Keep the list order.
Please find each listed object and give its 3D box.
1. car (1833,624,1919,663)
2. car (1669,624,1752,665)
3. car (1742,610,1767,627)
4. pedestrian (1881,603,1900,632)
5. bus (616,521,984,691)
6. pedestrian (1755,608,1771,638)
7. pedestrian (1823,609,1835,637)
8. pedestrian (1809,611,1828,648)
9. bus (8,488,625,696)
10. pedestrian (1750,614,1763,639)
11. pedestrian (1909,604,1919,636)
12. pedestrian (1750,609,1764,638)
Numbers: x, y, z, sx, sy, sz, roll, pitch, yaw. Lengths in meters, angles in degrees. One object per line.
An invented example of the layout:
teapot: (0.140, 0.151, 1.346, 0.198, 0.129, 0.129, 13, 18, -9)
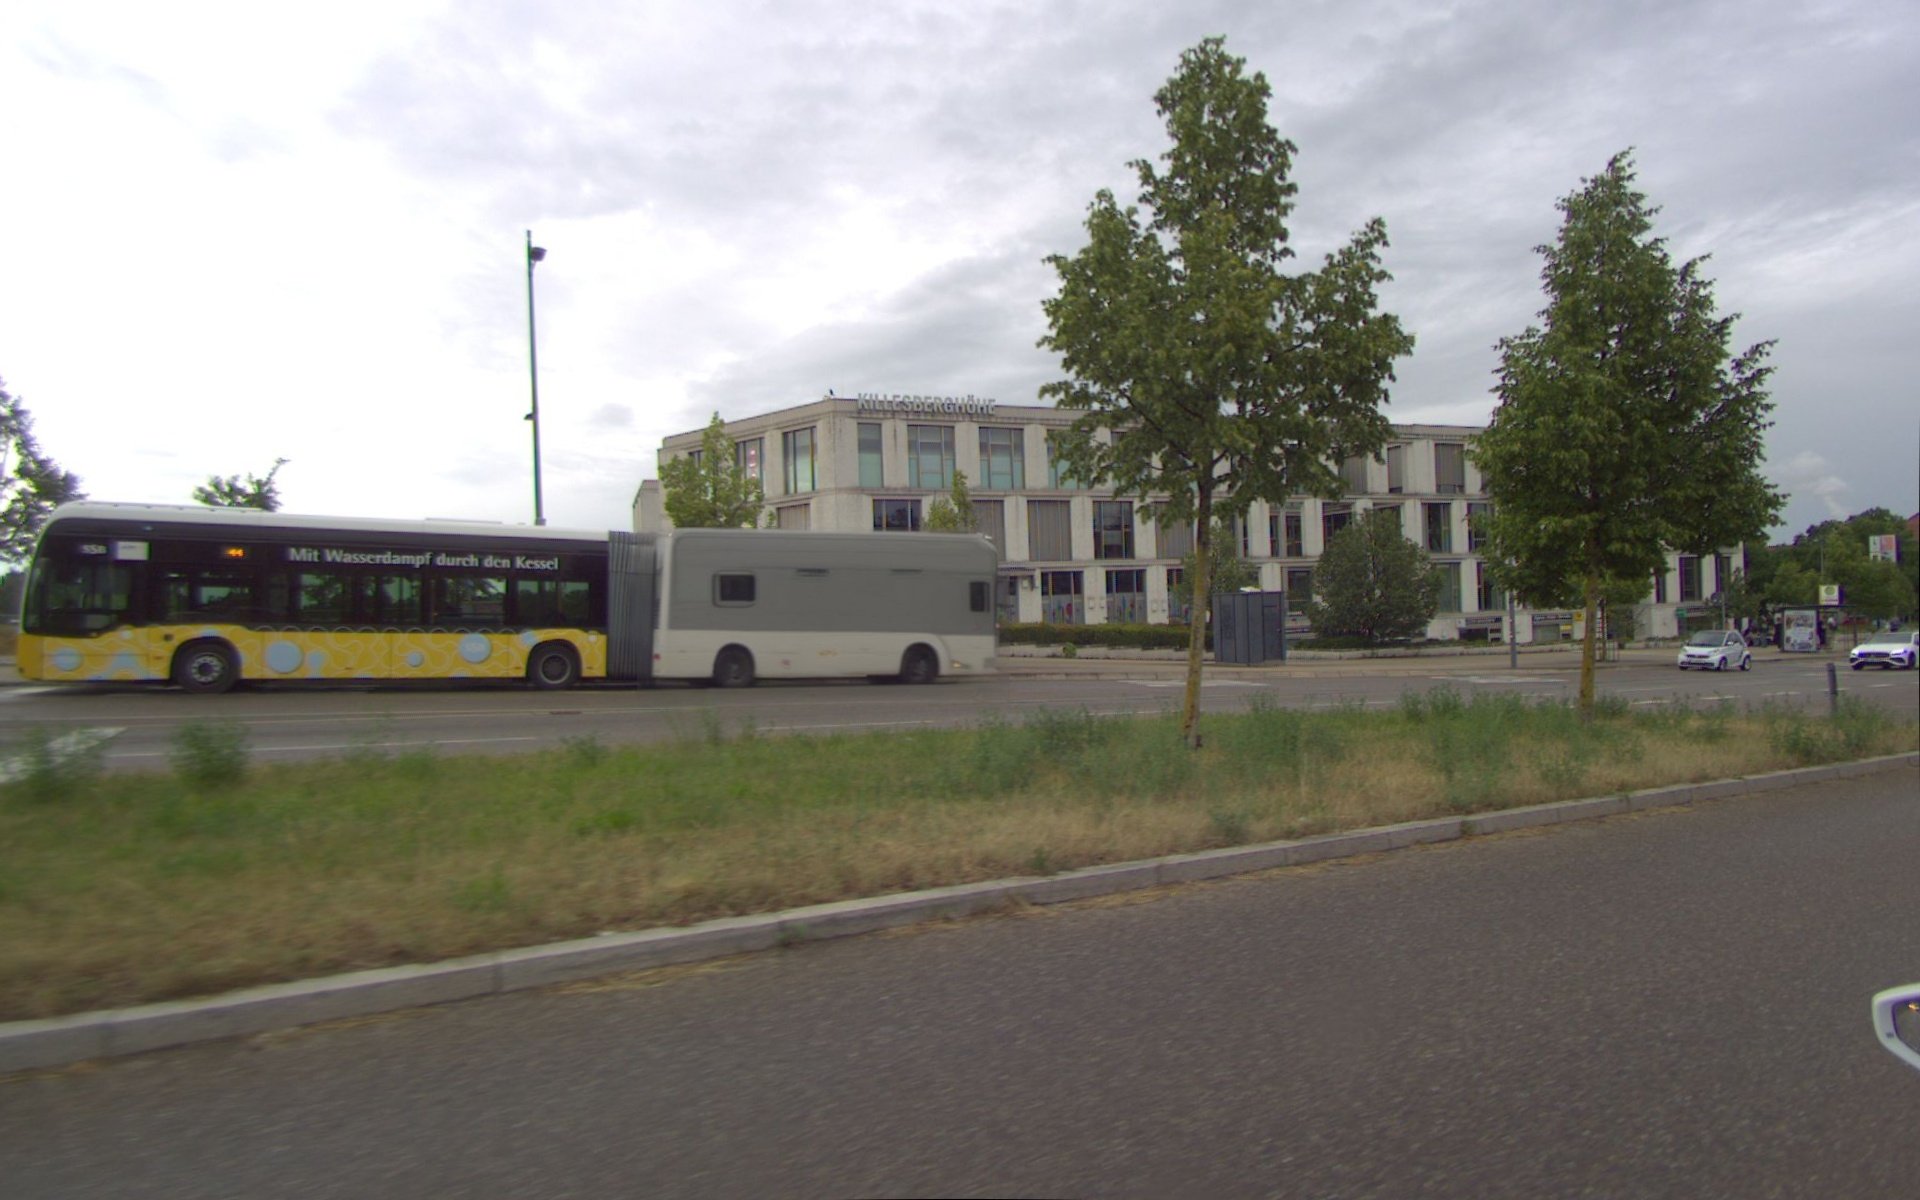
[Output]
car: (36.679, 1.683, 39.662, 4.459, 1.437, 1.984, 1, -1, -30)
car: (29.597, 1.734, 39.625, 2.937, 1.528, 1.606, 1, 0, -30)
car: (89.145, 2.060, 112.740, 1.749, 1.754, 3.990, -2, -2, 32)
pedestrian: (58.598, 1.099, 63.268, 0.846, 1.785, 0.596, 0, -1, -28)
bus: (-3.727, 0.219, 23.677, 8.113, 3.518, 2.815, 2, 0, -23)
pedestrian: (47.005, 1.364, 58.772, 0.559, 1.748, 0.523, 0, -1, -27)
pedestrian: (54.832, 1.455, 63.393, 0.492, 1.712, 0.910, -2, -1, 44)
pedestrian: (43.929, 1.516, 51.381, 0.747, 1.866, 0.505, 0, -1, -31)
bus: (-12.018, -0.006, 20.168, 9.831, 3.518, 2.815, 2, 0, -23)
pedestrian: (47.281, 1.556, 59.637, 0.504, 1.470, 0.424, 0, -1, -29)
pedestrian: (55.250, 1.137, 57.741, 0.737, 1.866, 0.750, 0, -1, -27)
pedestrian: (47.822, 1.396, 60.243, 0.613, 1.748, 0.424, 0, -1, -29)
